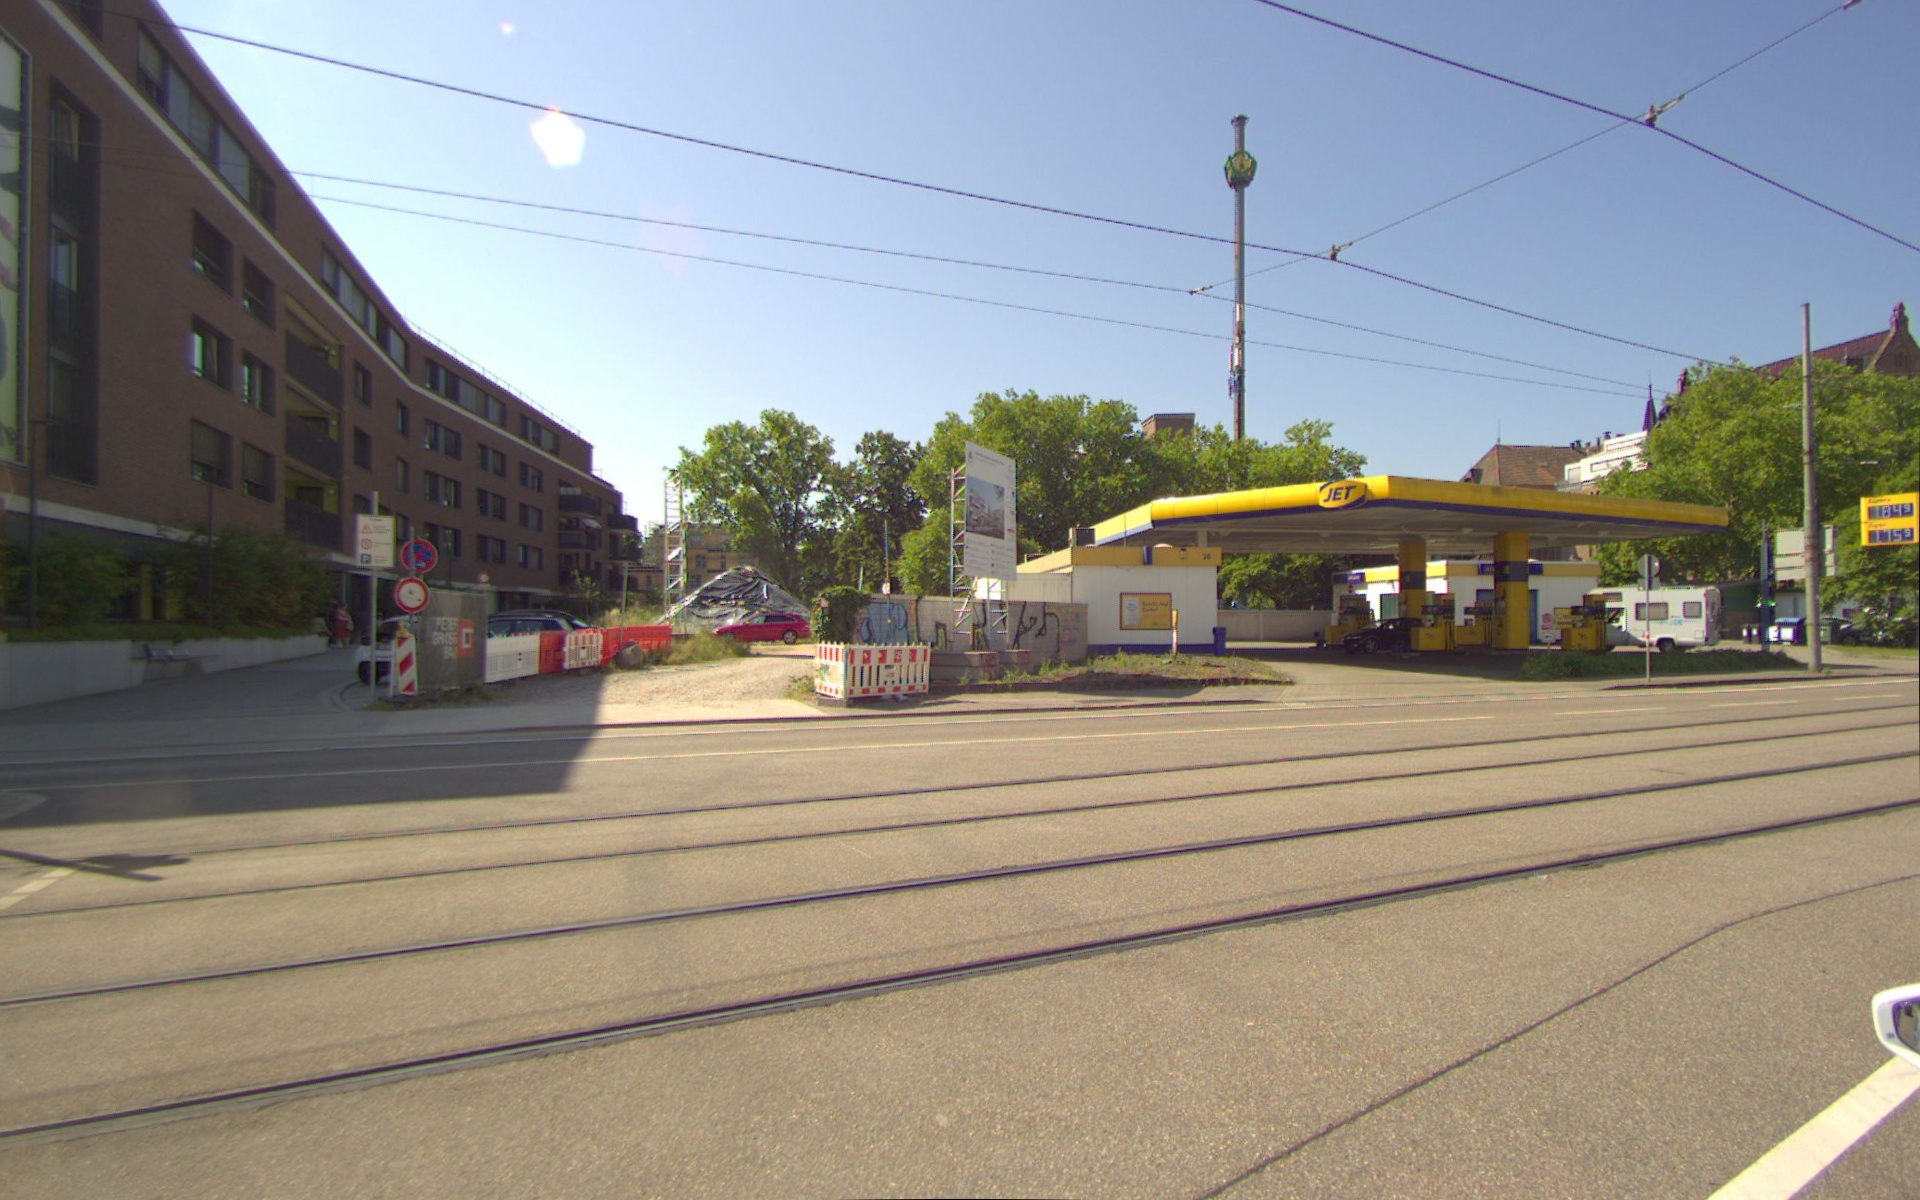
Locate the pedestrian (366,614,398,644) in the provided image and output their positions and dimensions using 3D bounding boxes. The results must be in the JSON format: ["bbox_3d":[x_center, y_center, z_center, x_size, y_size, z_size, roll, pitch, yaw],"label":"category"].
[{"bbox_3d":[-25.295,1.252,43.942,1.000,1.318,1.117,0,-1,-19],"label":"pedestrian"}]

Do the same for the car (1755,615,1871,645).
[{"bbox_3d":[47.271,1.666,55.743,4.486,1.604,1.951,0,-1,14],"label":"car"}]

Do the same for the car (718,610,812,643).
[{"bbox_3d":[-9.014,1.229,46.414,4.170,1.450,1.828,1,1,-12],"label":"car"}]

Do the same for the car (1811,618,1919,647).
[{"bbox_3d":[47.883,1.685,52.701,4.486,1.487,1.951,0,-1,14],"label":"car"}]

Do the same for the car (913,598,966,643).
[{"bbox_3d":[-1.197,1.149,55.646,2.286,2.358,5.654,1,-1,-8],"label":"car"}]

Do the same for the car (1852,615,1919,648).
[{"bbox_3d":[47.778,1.574,50.137,4.486,1.646,1.951,0,-1,14],"label":"car"}]

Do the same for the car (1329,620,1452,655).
[{"bbox_3d":[17.457,1.511,40.801,4.308,1.321,1.700,1,1,-6],"label":"car"}]

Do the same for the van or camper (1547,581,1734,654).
[{"bbox_3d":[31.360,0.719,46.517,2.595,3.007,6.634,0,2,-40],"label":"van or camper"}]

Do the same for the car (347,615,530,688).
[{"bbox_3d":[-12.058,1.127,23.540,1.765,1.442,4.002,1,0,9],"label":"car"}]

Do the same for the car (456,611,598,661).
[{"bbox_3d":[-14.105,1.178,32.976,3.987,1.552,1.813,1,-1,-13],"label":"car"}]

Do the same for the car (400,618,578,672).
[{"bbox_3d":[-12.686,1.210,27.272,3.983,1.384,1.866,1,-1,-10],"label":"car"}]

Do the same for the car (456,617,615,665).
[{"bbox_3d":[-12.654,1.213,30.125,3.979,1.384,1.868,1,-1,-4],"label":"car"}]
